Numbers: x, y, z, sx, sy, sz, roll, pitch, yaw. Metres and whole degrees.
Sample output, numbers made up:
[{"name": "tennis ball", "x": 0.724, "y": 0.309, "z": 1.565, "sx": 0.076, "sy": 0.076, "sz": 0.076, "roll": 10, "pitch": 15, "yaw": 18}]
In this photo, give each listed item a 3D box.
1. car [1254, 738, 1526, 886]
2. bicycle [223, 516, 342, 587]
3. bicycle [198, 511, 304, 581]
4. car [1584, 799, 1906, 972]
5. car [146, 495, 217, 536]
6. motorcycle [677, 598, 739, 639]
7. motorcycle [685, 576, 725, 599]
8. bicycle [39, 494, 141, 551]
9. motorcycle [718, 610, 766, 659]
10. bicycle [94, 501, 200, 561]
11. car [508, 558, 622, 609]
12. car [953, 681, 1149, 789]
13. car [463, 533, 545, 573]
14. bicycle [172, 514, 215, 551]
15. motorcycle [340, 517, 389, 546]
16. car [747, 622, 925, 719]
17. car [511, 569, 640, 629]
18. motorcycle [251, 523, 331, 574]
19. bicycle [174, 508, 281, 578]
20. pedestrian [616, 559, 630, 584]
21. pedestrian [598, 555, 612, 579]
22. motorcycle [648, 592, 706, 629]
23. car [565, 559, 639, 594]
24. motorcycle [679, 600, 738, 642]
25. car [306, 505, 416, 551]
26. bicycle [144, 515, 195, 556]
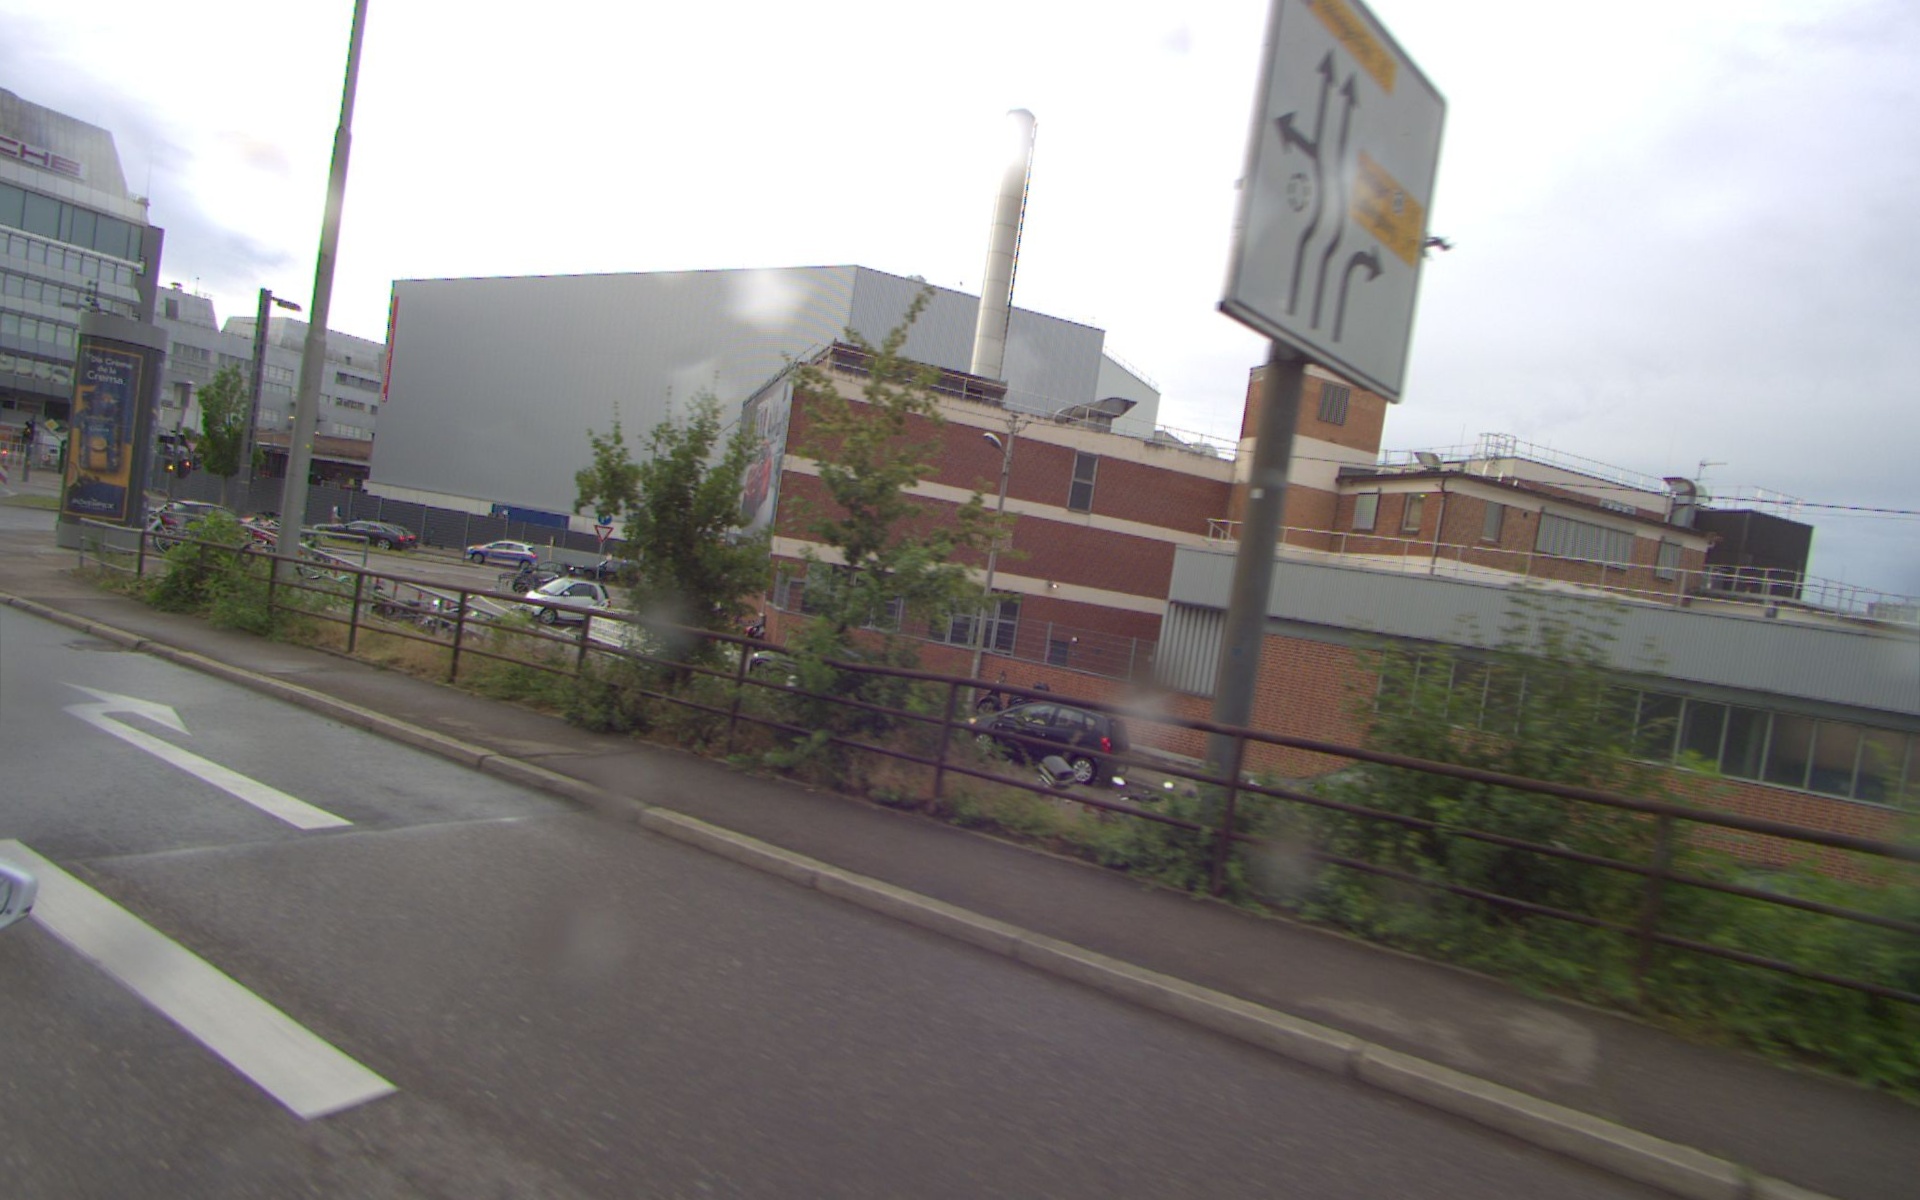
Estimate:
[{"name": "car", "x": 8.009, "y": 3.841, "z": 18.872, "sx": 4.355, "sy": 1.651, "sz": 1.635, "roll": 8, "pitch": 0, "yaw": 31}, {"name": "bicycle", "x": -13.329, "y": -0.927, "z": 19.853, "sx": 0.588, "sy": 1.193, "sz": 1.933, "roll": 7, "pitch": 0, "yaw": 16}, {"name": "bicycle", "x": -14.164, "y": -1.049, "z": 20.172, "sx": 0.588, "sy": 1.239, "sz": 1.932, "roll": 7, "pitch": 0, "yaw": 2}, {"name": "car", "x": 12.577, "y": 4.533, "z": 16.468, "sx": 3.792, "sy": 1.574, "sz": 1.700, "roll": 8, "pitch": 0, "yaw": 31}, {"name": "car", "x": -30.711, "y": -3.352, "z": 39.674, "sx": 3.518, "sy": 1.307, "sz": 1.607, "roll": 7, "pitch": 0, "yaw": 43}, {"name": "motorcycle", "x": -9.212, "y": 0.672, "z": 36.794, "sx": 2.009, "sy": 1.327, "sz": 0.679, "roll": 4, "pitch": 5, "yaw": -45}, {"name": "motorcycle", "x": -17.385, "y": -0.875, "z": 68.601, "sx": 2.461, "sy": 1.201, "sz": 0.994, "roll": 8, "pitch": 0, "yaw": -22}, {"name": "bicycle", "x": -21.659, "y": -1.915, "z": 25.071, "sx": 0.668, "sy": 1.154, "sz": 1.769, "roll": 7, "pitch": 0, "yaw": 38}, {"name": "motorcycle", "x": -7.270, "y": 1.129, "z": 33.496, "sx": 0.919, "sy": 1.327, "sz": 1.968, "roll": 5, "pitch": 4, "yaw": -29}, {"name": "bicycle", "x": -19.242, "y": -1.609, "z": 23.849, "sx": 0.582, "sy": 1.176, "sz": 1.800, "roll": 7, "pitch": 1, "yaw": 34}, {"name": "car", "x": -17.144, "y": -0.718, "z": 43.734, "sx": 4.087, "sy": 1.548, "sz": 1.838, "roll": 8, "pitch": -1, "yaw": 8}, {"name": "car", "x": 2.016, "y": 2.950, "z": 22.579, "sx": 3.865, "sy": 1.648, "sz": 1.700, "roll": 8, "pitch": 0, "yaw": 31}, {"name": "car", "x": -26.600, "y": -2.728, "z": 58.807, "sx": 3.924, "sy": 1.620, "sz": 1.904, "roll": 9, "pitch": 0, "yaw": -17}, {"name": "bicycle", "x": -25.755, "y": -2.248, "z": 33.832, "sx": 0.380, "sy": 1.111, "sz": 1.745, "roll": 7, "pitch": 0, "yaw": -13}, {"name": "motorcycle", "x": -36.205, "y": -4.164, "z": 61.176, "sx": 2.326, "sy": 1.361, "sz": 0.650, "roll": 8, "pitch": 1, "yaw": -19}, {"name": "car", "x": -3.204, "y": 1.792, "z": 25.790, "sx": 4.191, "sy": 1.628, "sz": 1.701, "roll": 11, "pitch": 0, "yaw": 31}, {"name": "car", "x": -12.899, "y": -0.009, "z": 33.844, "sx": 1.670, "sy": 1.500, "sz": 3.543, "roll": 11, "pitch": 3, "yaw": 43}, {"name": "motorcycle", "x": -23.846, "y": -1.830, "z": 35.894, "sx": 2.216, "sy": 1.470, "sz": 0.749, "roll": 8, "pitch": 0, "yaw": -36}, {"name": "bicycle", "x": -14.868, "y": -1.133, "z": 20.485, "sx": 0.588, "sy": 1.239, "sz": 1.932, "roll": 7, "pitch": 0, "yaw": 3}, {"name": "pedestrian", "x": -21.742, "y": -1.838, "z": 64.977, "sx": 0.640, "sy": 1.499, "sz": 0.438, "roll": 8, "pitch": 1, "yaw": -13}, {"name": "pedestrian", "x": -23.074, "y": -2.145, "z": 65.439, "sx": 0.603, "sy": 1.499, "sz": 0.423, "roll": 8, "pitch": 1, "yaw": -11}, {"name": "motorcycle", "x": -11.019, "y": 0.406, "z": 39.149, "sx": 1.998, "sy": 1.206, "sz": 0.605, "roll": 6, "pitch": 4, "yaw": -27}, {"name": "car", "x": -21.497, "y": -1.439, "z": 60.536, "sx": 3.943, "sy": 1.409, "sz": 1.750, "roll": 10, "pitch": 1, "yaw": -17}, {"name": "motorcycle", "x": -8.911, "y": 0.759, "z": 35.713, "sx": 1.856, "sy": 1.327, "sz": 0.566, "roll": 5, "pitch": 4, "yaw": -41}, {"name": "car", "x": -31.470, "y": -3.771, "z": 52.989, "sx": 4.519, "sy": 1.558, "sz": 1.750, "roll": 10, "pitch": 1, "yaw": -17}, {"name": "bicycle", "x": -21.241, "y": -1.736, "z": 27.013, "sx": 2.145, "sy": 0.916, "sz": 0.691, "roll": 7, "pitch": 0, "yaw": 44}]
